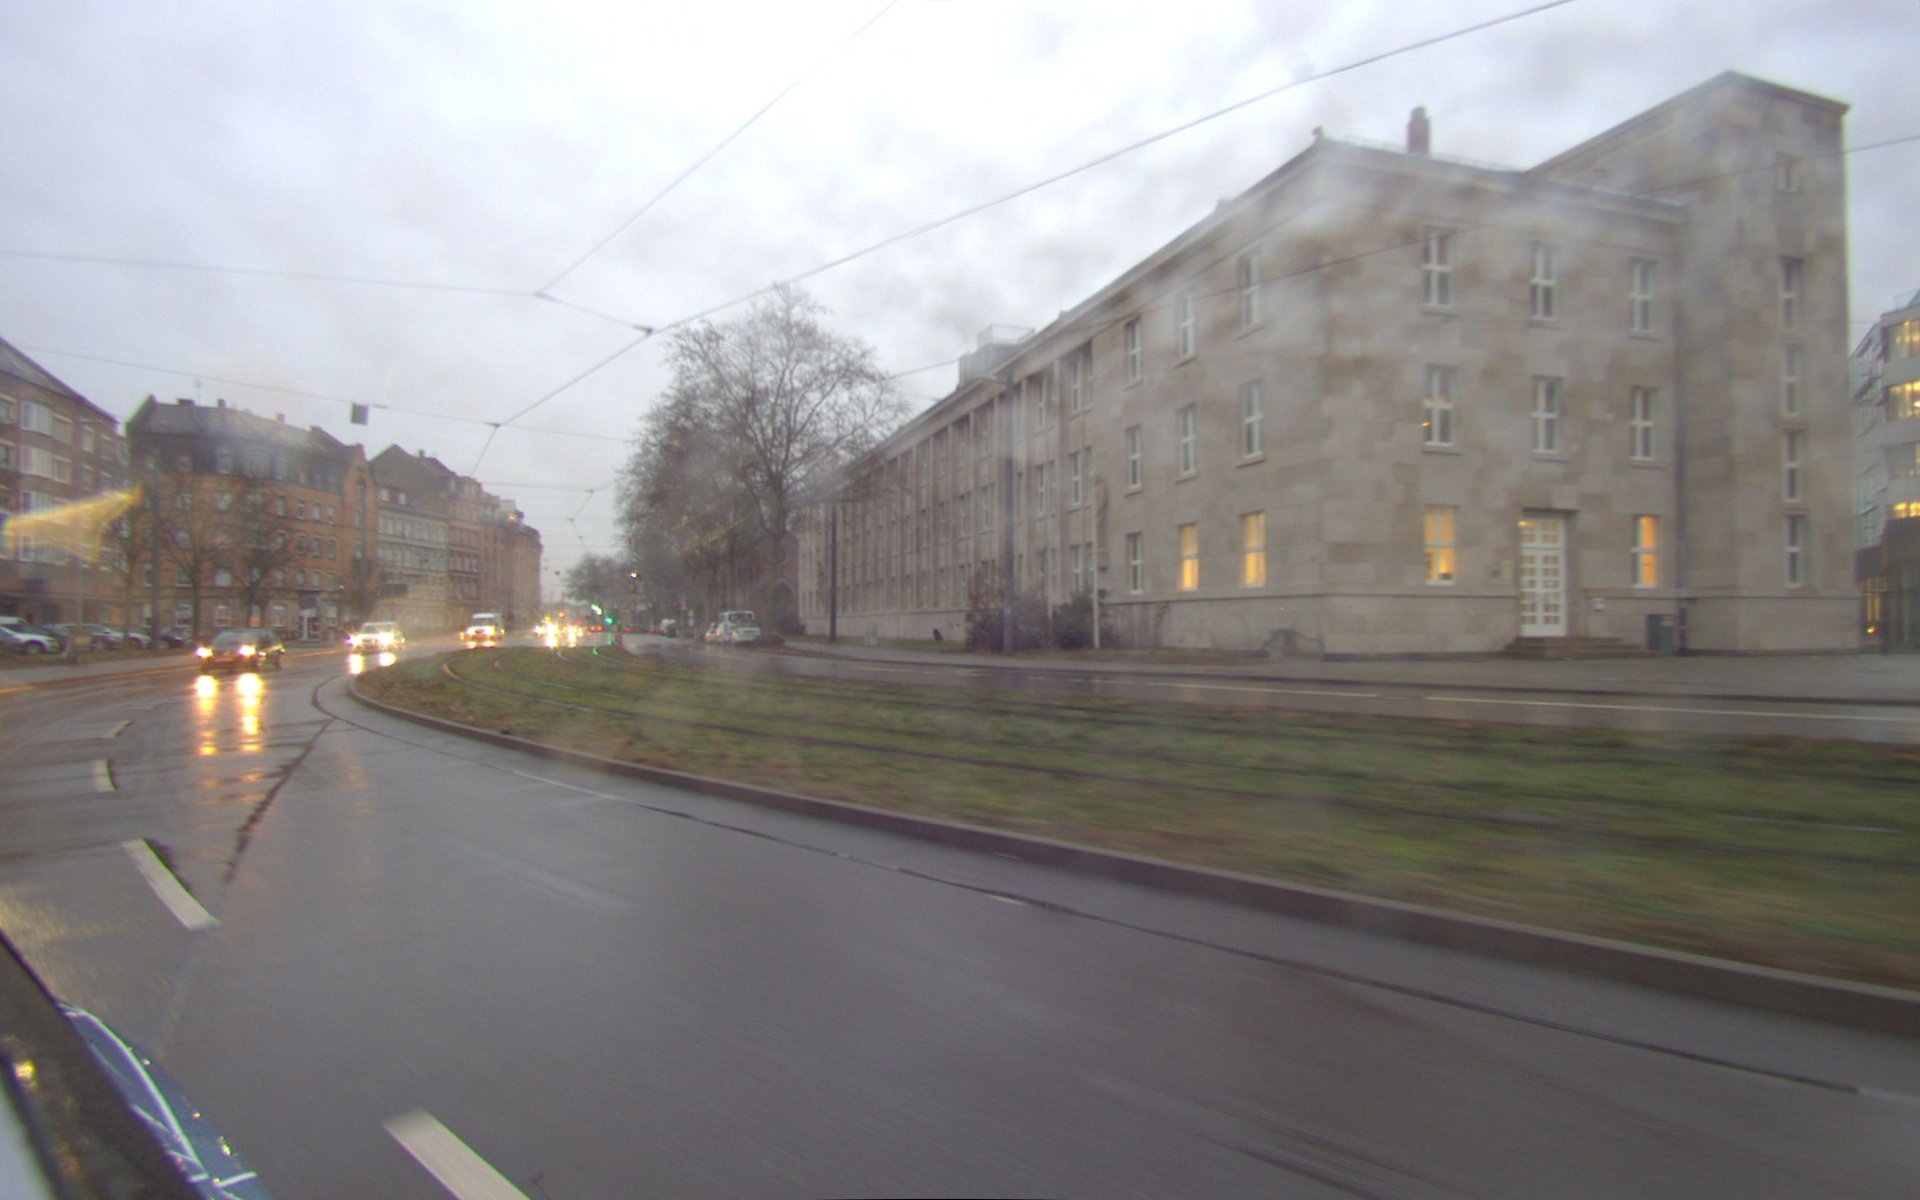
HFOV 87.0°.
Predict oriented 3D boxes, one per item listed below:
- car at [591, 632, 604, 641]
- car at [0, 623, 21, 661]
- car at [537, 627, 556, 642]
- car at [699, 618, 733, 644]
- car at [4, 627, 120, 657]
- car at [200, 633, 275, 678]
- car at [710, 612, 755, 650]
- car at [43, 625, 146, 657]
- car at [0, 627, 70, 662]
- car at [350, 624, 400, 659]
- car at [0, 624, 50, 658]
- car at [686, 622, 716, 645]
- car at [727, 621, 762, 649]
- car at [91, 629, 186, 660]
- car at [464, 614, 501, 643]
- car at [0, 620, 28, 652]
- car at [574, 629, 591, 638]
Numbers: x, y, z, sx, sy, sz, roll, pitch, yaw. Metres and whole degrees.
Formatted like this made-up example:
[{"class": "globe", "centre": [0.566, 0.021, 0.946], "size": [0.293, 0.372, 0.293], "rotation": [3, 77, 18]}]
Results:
[{"class": "car", "centre": [-72.022, 7.245, 201.036], "size": [1.921, 1.829, 4.009], "rotation": [0, -1, -12]}, {"class": "car", "centre": [-38.043, 1.668, 38.097], "size": [1.694, 1.416, 3.821], "rotation": [-2, 0, 42]}, {"class": "car", "centre": [-51.612, 4.297, 126.322], "size": [1.623, 1.763, 3.563], "rotation": [0, -2, -12]}, {"class": "car", "centre": [-16.740, 2.092, 69.295], "size": [1.796, 1.667, 3.872], "rotation": [-2, 0, -20]}, {"class": "car", "centre": [-40.244, 1.867, 45.397], "size": [1.600, 1.288, 3.715], "rotation": [-2, -2, 40]}, {"class": "car", "centre": [-24.546, 1.861, 34.469], "size": [1.563, 1.437, 3.144], "rotation": [0, -2, -26]}, {"class": "car", "centre": [-13.477, 1.793, 59.772], "size": [1.966, 2.029, 4.524], "rotation": [-2, 0, -20]}, {"class": "car", "centre": [-41.911, 1.956, 49.025], "size": [3.710, 1.364, 1.603], "rotation": [-2, -1, -43]}, {"class": "car", "centre": [-40.228, 1.913, 42.912], "size": [3.710, 1.341, 1.603], "rotation": [-2, -1, -43]}, {"class": "car", "centre": [-30.352, 2.117, 52.603], "size": [1.646, 1.672, 4.161], "rotation": [-2, 0, -22]}, {"class": "car", "centre": [-39.219, 1.649, 40.827], "size": [3.709, 1.343, 1.603], "rotation": [1, -2, -43]}, {"class": "car", "centre": [-19.367, 2.477, 75.495], "size": [1.588, 1.673, 3.623], "rotation": [0, -2, -24]}, {"class": "car", "centre": [-11.842, 1.889, 55.562], "size": [1.534, 1.439, 2.964], "rotation": [0, -1, -19]}, {"class": "car", "centre": [-42.352, 2.268, 52.227], "size": [3.710, 1.364, 1.603], "rotation": [-2, -1, -43]}, {"class": "car", "centre": [-42.612, 2.500, 90.431], "size": [2.095, 2.398, 5.655], "rotation": [-2, 0, -16]}, {"class": "car", "centre": [-51.828, 1.956, 53.987], "size": [1.647, 1.716, 3.475], "rotation": [-2, 0, -15]}, {"class": "car", "centre": [-59.495, 5.321, 159.525], "size": [1.866, 1.424, 3.955], "rotation": [0, -2, -10]}]
